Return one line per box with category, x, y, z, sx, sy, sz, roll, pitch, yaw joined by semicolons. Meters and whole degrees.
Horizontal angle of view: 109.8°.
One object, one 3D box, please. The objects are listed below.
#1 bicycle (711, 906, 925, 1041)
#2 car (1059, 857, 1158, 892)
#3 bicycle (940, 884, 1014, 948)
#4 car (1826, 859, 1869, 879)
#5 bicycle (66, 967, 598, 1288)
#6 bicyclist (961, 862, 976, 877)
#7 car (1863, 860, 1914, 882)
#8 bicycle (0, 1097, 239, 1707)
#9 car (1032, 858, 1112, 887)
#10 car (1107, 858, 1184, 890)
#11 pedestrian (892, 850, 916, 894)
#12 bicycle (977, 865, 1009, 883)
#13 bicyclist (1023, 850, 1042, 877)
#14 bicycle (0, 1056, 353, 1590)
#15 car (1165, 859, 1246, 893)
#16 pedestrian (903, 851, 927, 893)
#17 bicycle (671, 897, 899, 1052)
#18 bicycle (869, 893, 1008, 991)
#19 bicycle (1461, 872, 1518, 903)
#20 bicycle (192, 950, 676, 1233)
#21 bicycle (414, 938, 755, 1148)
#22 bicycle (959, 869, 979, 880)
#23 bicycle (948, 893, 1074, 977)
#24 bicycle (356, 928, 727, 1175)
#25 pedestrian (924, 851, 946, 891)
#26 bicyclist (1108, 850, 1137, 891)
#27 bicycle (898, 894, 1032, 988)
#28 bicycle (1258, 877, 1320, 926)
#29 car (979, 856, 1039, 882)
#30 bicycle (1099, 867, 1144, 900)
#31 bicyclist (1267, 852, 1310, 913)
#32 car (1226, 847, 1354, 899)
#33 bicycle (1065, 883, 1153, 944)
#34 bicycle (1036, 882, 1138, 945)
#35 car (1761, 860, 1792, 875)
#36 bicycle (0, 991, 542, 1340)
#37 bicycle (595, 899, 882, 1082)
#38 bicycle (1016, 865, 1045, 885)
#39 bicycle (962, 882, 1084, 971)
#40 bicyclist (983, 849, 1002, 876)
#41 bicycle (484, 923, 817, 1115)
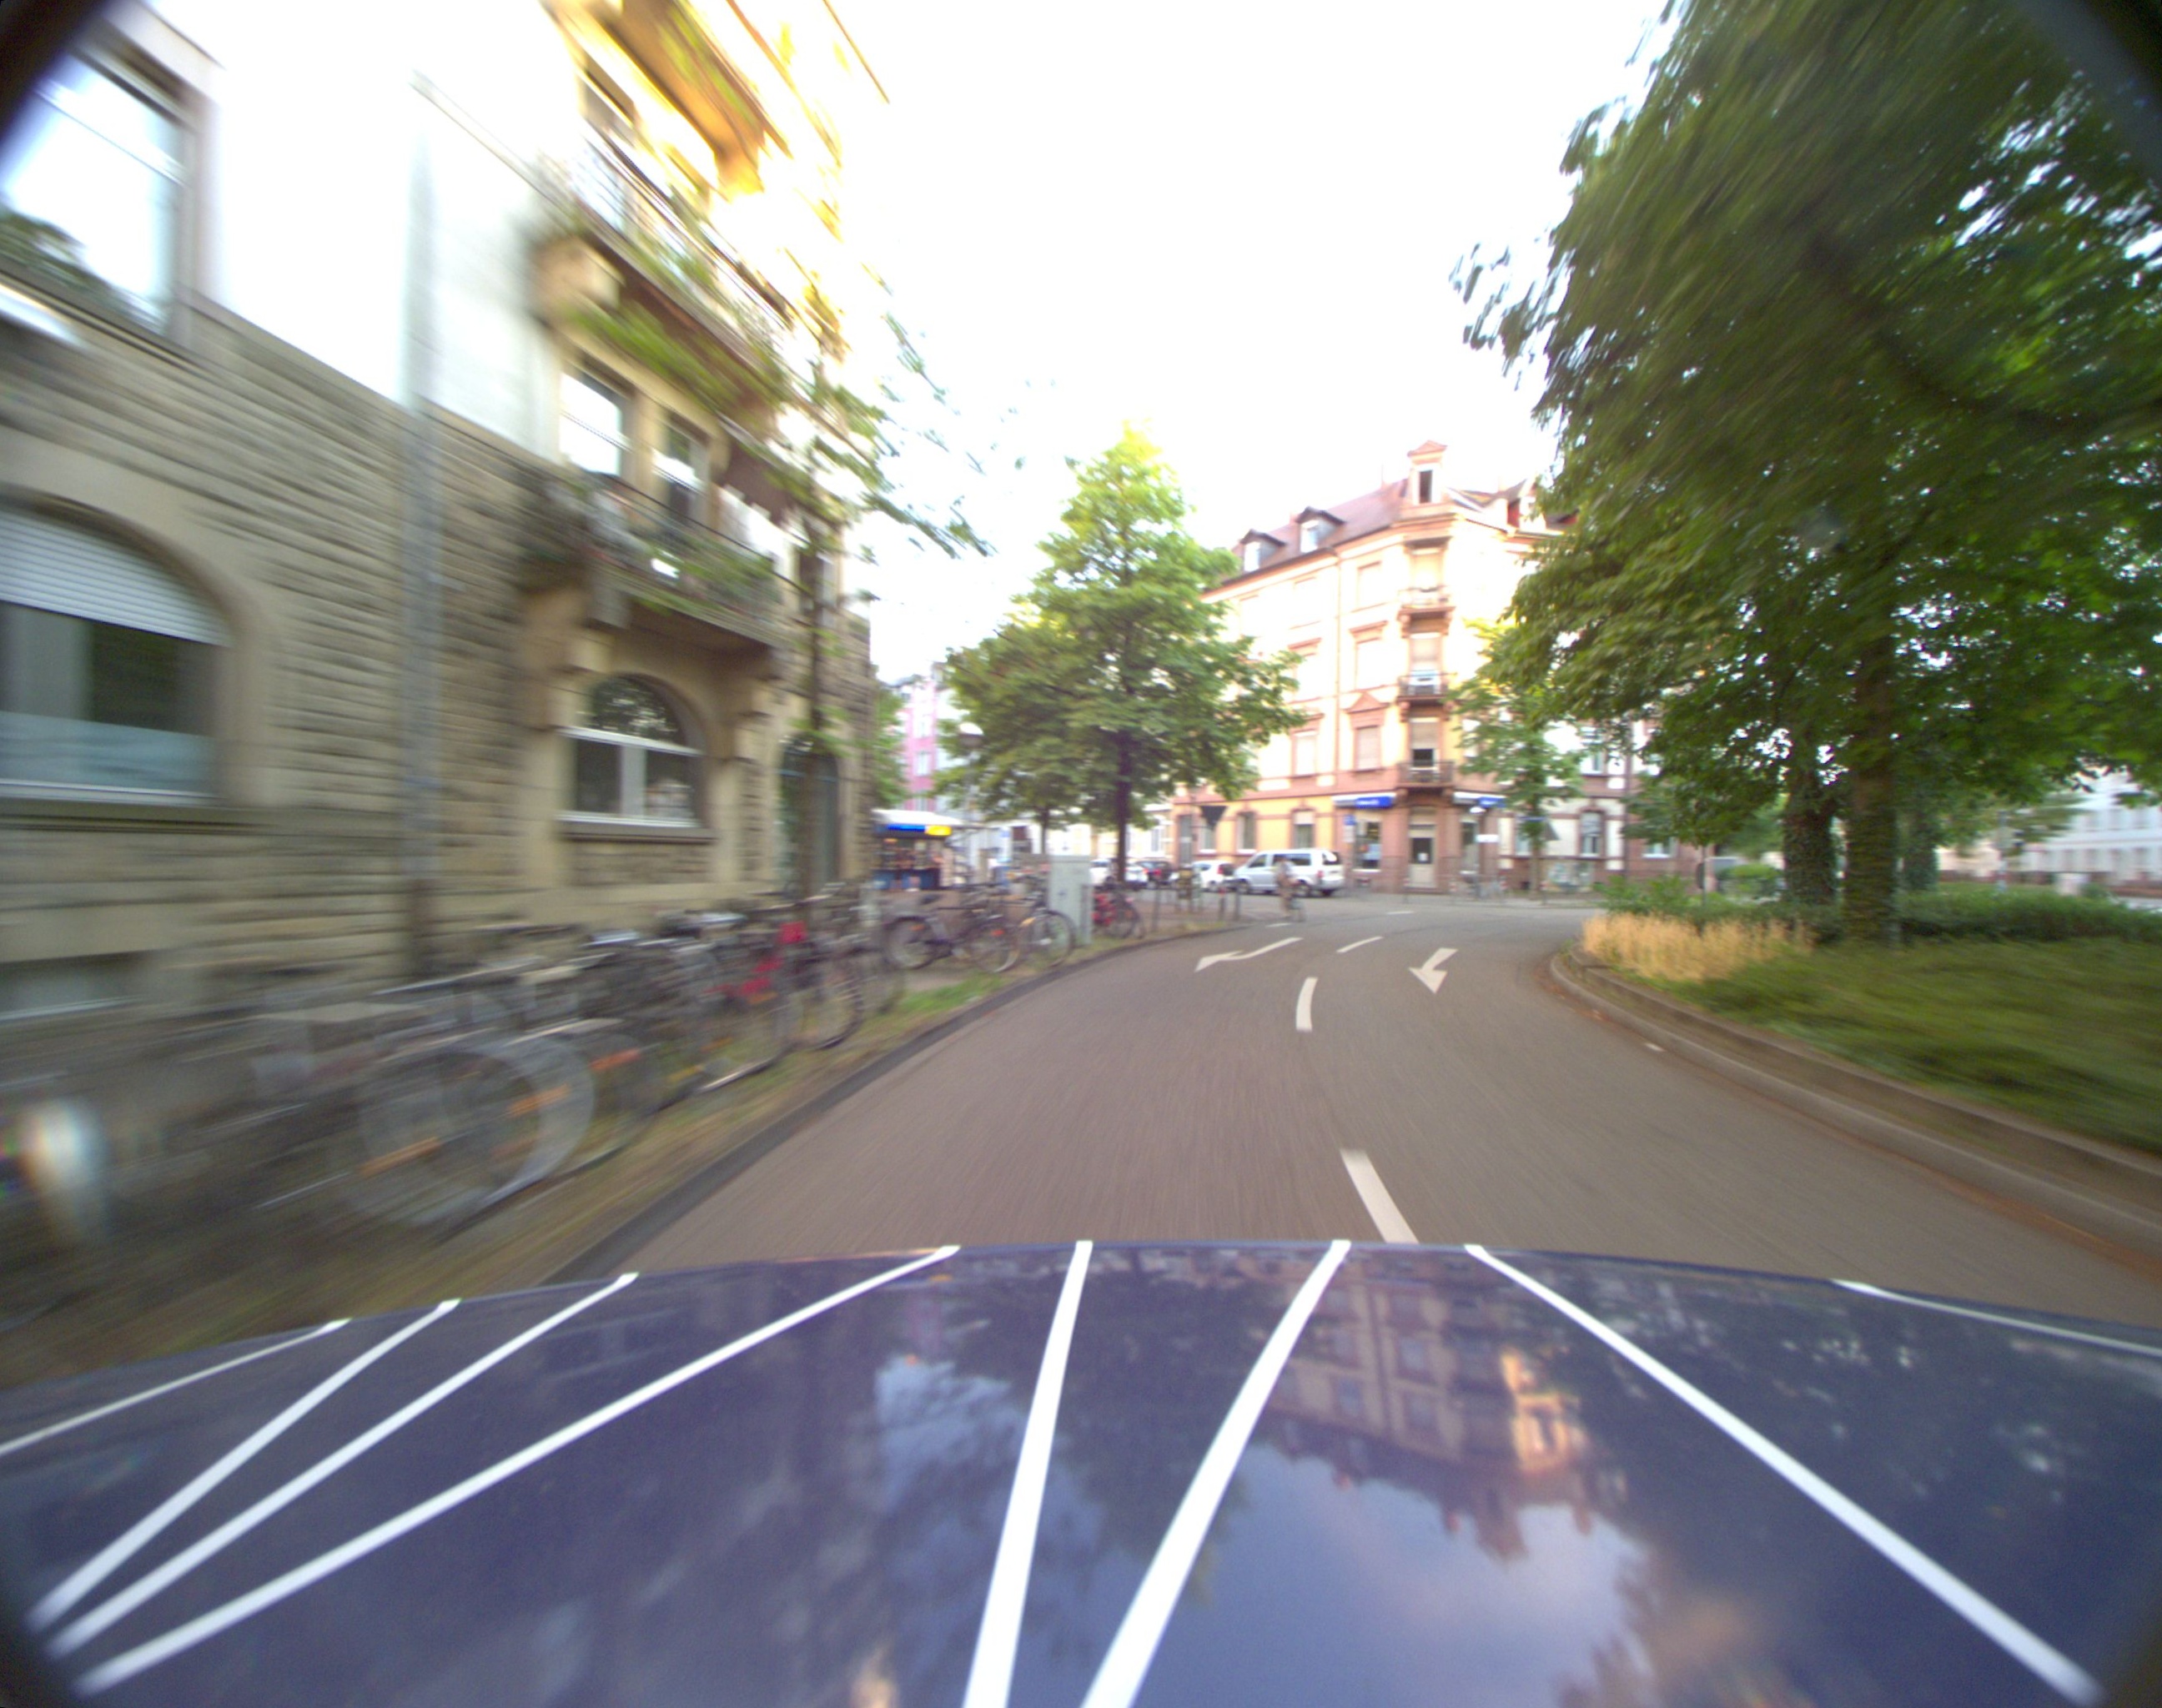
bicycle;-2.332;1.032;6.762;1.794;1.057;0.448;1;0;9
car;1.209;0.906;36.099;2.004;1.508;4.827;1;0;-39
bicycle;-1.772;1.040;13.179;0.431;0.963;1.730;1;0;23
car;76.027;1.469;75.415;1.905;1.839;4.008;1;0;29
bicycle;-2.956;1.032;3.037;1.853;1.045;0.419;1;0;6
bicyclist;-7.273;1.007;49.189;0.649;0.971;0.728;1;0;-39
car;71.764;1.449;67.582;1.905;1.839;4.008;1;0;29
bicycle;-2.969;1.049;1.526;1.853;1.126;0.418;1;19;6
car;-0.563;1.037;43.533;1.848;1.517;4.788;-2;1;-42
car;3.278;0.991;39.134;1.738;1.483;3.731;-2;1;-43
pedestrian;-6.725;0.686;28.811;0.680;1.627;0.589;1;0;-41
bicycle;-5.379;1.206;46.201;2.041;1.088;0.731;1;0;41
bicyclist;-2.756;0.524;43.478;0.680;1.536;0.872;1;0;-41
bicycle;-2.952;1.047;1.800;1.853;1.088;0.418;1;19;6
car;5.907;0.988;36.330;1.693;1.483;3.603;-2;1;-40
pedestrian;-6.436;0.688;29.458;0.589;1.627;0.679;1;0;20
bicycle;-2.471;0.972;6.373;1.794;1.161;0.448;1;0;9
bicycle;-1.719;1.037;9.178;1.605;1.069;0.419;1;0;13
bicycle;15.233;1.239;28.377;1.793;1.077;0.562;1;1;38
bicycle;-2.954;1.033;3.525;1.918;1.055;0.535;1;0;7
bicycle;-2.858;1.043;4.390;1.852;1.008;0.419;1;0;10
bicycle;-7.228;1.324;49.128;0.653;0.639;1.459;1;0;-39
bicycle;-0.948;1.068;10.297;1.604;1.014;0.556;1;0;17
bicycle;-2.873;0.997;4.063;1.852;1.110;0.419;1;0;10
pedestrian;-5.757;0.664;29.944;0.589;1.530;0.679;1;0;20
bicyclist;1.540;0.625;28.376;0.687;1.503;0.971;0;0;-28
bicycle;-1.449;1.065;9.504;1.605;1.057;0.419;1;0;13
bicycle;5.250;1.170;19.309;0.686;1.144;2.113;0;0;-10
car;-4.656;0.922;48.495;1.809;1.583;4.133;-2;1;-38
bicycle;1.483;1.081;28.443;0.687;1.144;2.110;0;0;-28
bicyclist;5.247;0.708;19.241;0.686;1.503;0.972;0;0;-10
car;8.828;0.735;32.462;2.051;2.045;4.990;-2;1;-39
bicycle;0.510;1.078;14.129;1.603;1.033;0.433;1;0;29
bicycle;0.091;1.057;13.937;1.894;1.033;0.433;1;0;29
car;86.080;1.660;94.081;1.905;1.839;4.008;1;0;29
bicycle;-2.980;1.060;2.747;1.853;0.994;0.419;1;0;6
bicycle;-2.516;0.965;5.637;1.918;1.193;0.553;1;0;7
bicycle;-2.921;1.187;43.665;0.687;1.088;1.803;1;0;-42
bicycle;-0.817;0.999;10.720;1.604;1.141;0.556;1;0;17
bicyclist;-5.405;0.518;46.227;0.872;1.574;0.728;1;0;41
bicycle;-2.761;1.023;4.933;1.918;1.058;0.553;1;0;7
